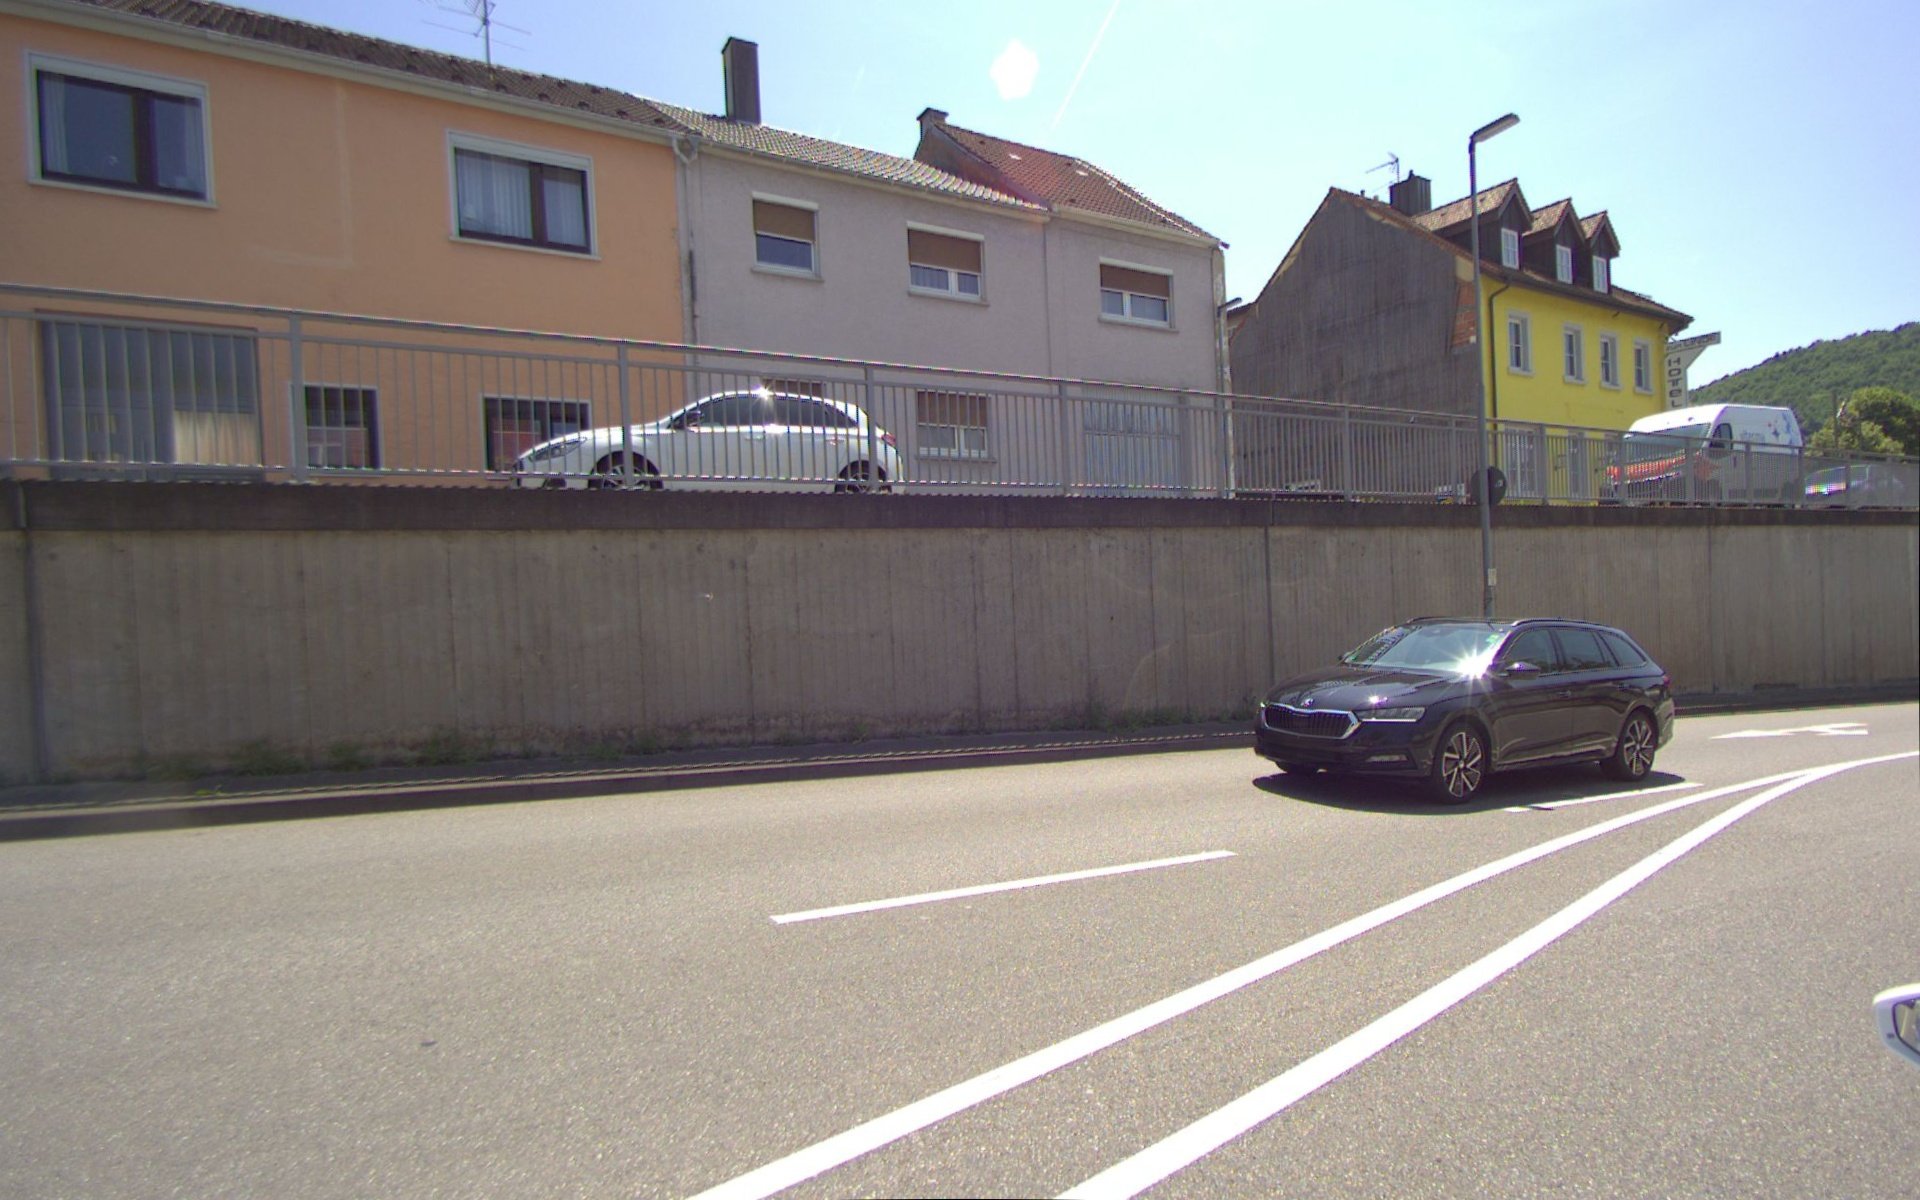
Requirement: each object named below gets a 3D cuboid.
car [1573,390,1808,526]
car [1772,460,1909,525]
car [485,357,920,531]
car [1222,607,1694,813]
[{"bbox_3d":[16.149,-2.970,22.120,5.592,2.571,2.056,-2,2,-29],"label":"car"},{"bbox_3d":[23.449,-2.810,26.729,3.997,1.521,1.610,-2,2,-31],"label":"car"},{"bbox_3d":[-2.739,-1.547,11.047,4.263,1.482,1.802,-3,2,-34],"label":"car"},{"bbox_3d":[4.637,0.857,9.211,4.315,1.509,1.753,1,-1,-29],"label":"car"}]
